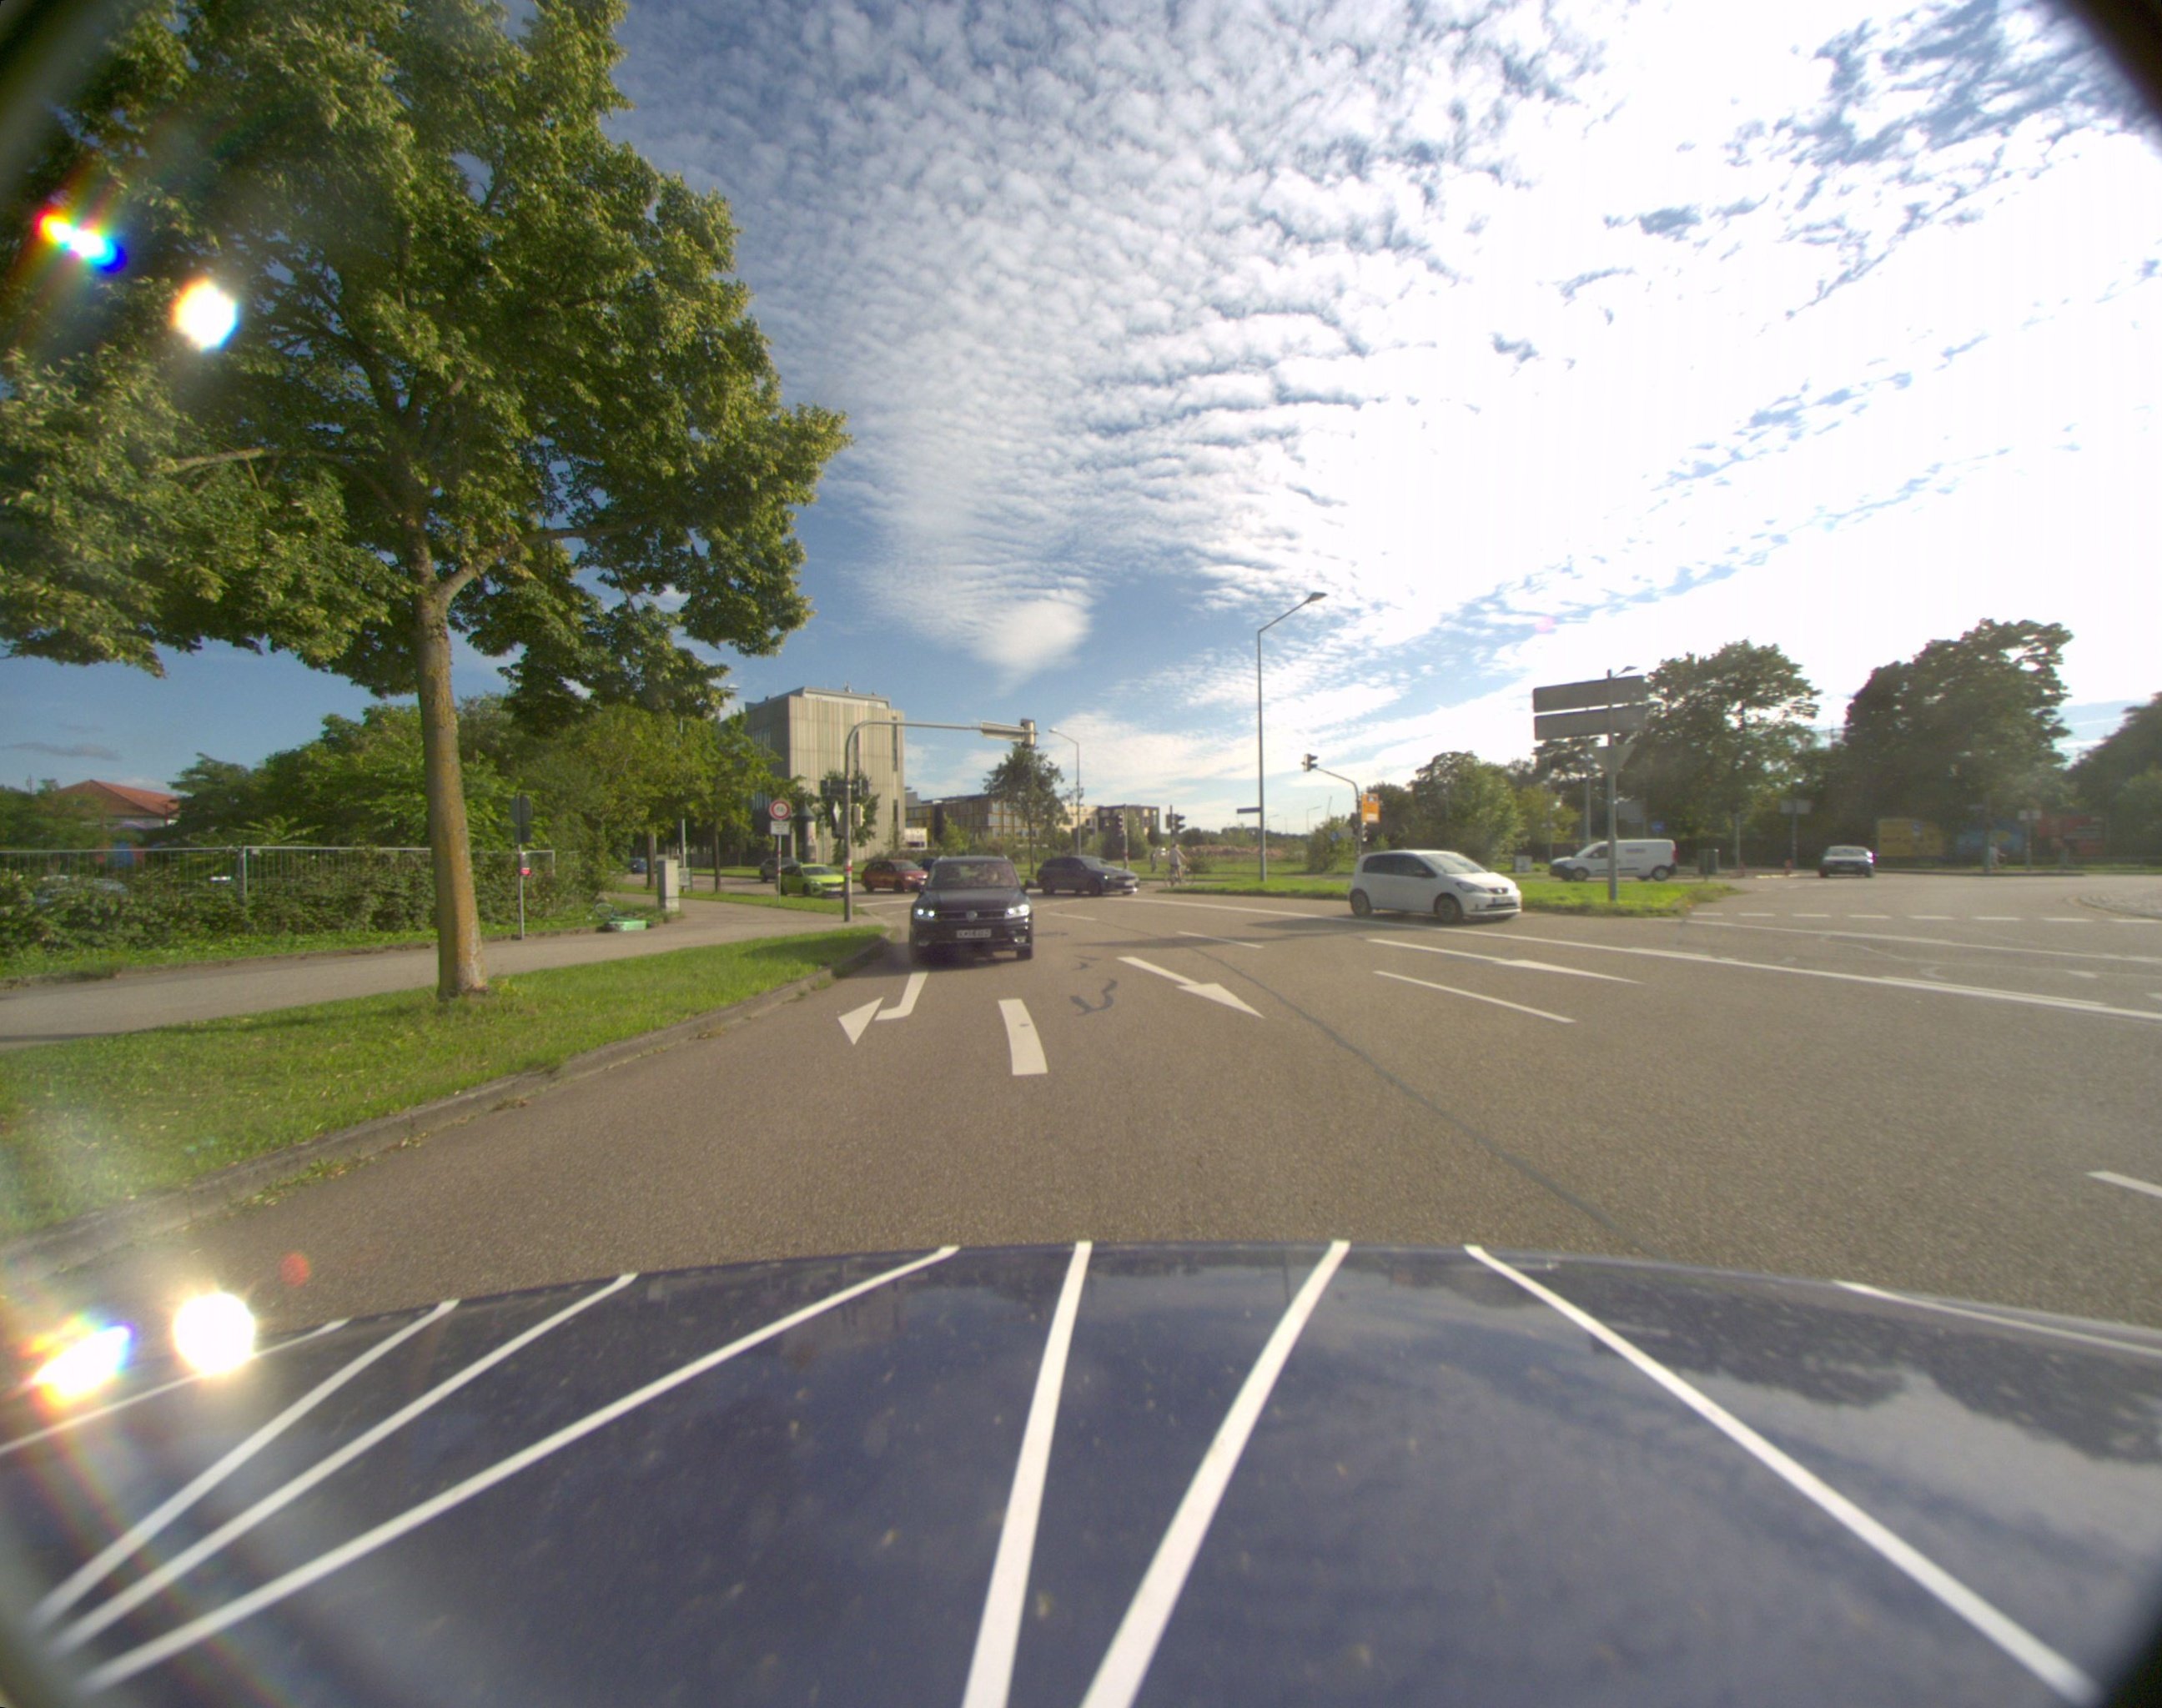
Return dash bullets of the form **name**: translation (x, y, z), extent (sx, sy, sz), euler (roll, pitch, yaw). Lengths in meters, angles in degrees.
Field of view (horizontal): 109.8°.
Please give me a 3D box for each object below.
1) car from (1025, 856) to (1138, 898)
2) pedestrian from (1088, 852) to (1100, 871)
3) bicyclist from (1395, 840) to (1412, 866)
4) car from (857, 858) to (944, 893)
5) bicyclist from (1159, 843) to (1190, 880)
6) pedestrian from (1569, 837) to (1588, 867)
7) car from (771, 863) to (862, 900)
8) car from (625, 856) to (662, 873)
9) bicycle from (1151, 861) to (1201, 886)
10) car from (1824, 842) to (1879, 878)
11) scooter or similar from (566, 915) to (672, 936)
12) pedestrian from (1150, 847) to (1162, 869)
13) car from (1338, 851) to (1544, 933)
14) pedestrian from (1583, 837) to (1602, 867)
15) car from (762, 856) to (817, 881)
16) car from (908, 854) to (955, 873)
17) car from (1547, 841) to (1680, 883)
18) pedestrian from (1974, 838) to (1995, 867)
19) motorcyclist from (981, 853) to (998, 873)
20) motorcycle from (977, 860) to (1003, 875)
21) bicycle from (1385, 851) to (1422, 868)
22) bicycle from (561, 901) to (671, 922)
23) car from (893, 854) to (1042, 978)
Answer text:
- **car**: translation (-0.053, 0.809, 28.951), extent (1.828, 1.412, 4.434), euler (-3, 2, -41)
- **pedestrian**: translation (1.066, 0.587, 61.984), extent (0.630, 1.500, 0.754), euler (-6, 4, -41)
- **bicyclist**: translation (18.482, -0.071, 43.559), extent (0.697, 1.438, 0.611), euler (0, 3, 1)
- **car**: translation (-8.325, 0.947, 34.855), extent (4.215, 1.466, 1.698), euler (0, 2, 41)
- **bicyclist**: translation (3.995, 0.300, 32.421), extent (0.867, 1.547, 0.995), euler (-2, 1, -40)
- **pedestrian**: translation (32.986, -0.127, 50.384), extent (0.864, 1.906, 0.898), euler (-1, 3, 24)
- **car**: translation (-11.508, 1.130, 32.858), extent (1.900, 1.412, 4.594), euler (-3, 2, -44)
- **car**: translation (-42.977, 1.014, 74.614), extent (2.004, 1.652, 4.789), euler (-1, 1, -45)
- **bicycle**: translation (4.065, 0.828, 32.472), extent (1.965, 1.001, 0.999), euler (-1, 1, -40)
- **car**: translation (35.184, 0.255, 34.704), extent (4.002, 1.492, 1.681), euler (-2, 1, -45)
- **scooter or similar**: translation (-10.314, 1.592, 17.029), extent (1.290, 0.279, 1.556), euler (-1, 0, 21)
- **pedestrian**: translation (5.606, 0.306, 56.803), extent (0.630, 1.620, 0.656), euler (-4, 2, -42)
- **car**: translation (7.427, 0.704, 16.053), extent (1.769, 1.456, 3.653), euler (-2, 1, -23)
- **pedestrian**: translation (33.824, -0.157, 50.259), extent (0.864, 1.906, 0.898), euler (-1, 3, 24)
- **car**: translation (-18.767, 0.942, 48.820), extent (1.698, 1.466, 4.215), euler (-2, 1, -44)
- **car**: translation (-11.742, 0.764, 59.479), extent (1.787, 1.492, 3.983), euler (1, -1, -43)
- **car**: translation (23.668, 0.352, 33.936), extent (4.552, 1.814, 1.688), euler (0, -1, 15)
- **pedestrian**: translation (50.210, -0.078, 42.222), extent (0.548, 1.615, 0.505), euler (-1, 1, -5)
- **motorcyclist**: translation (-6.462, 0.606, 53.415), extent (0.786, 1.358, 0.940), euler (-1, 1, -40)
- **motorcycle**: translation (-6.413, 0.940, 53.405), extent (0.786, 0.981, 2.018), euler (-1, 1, -40)
- **bicycle**: translation (18.488, 0.312, 43.581), extent (1.836, 0.982, 0.611), euler (-1, 1, 2)
- **bicycle**: translation (-11.922, 1.463, 19.505), extent (2.246, 0.344, 1.091), euler (-3, 0, 12)
- **car**: translation (-1.718, 0.866, 13.152), extent (1.872, 1.646, 5.013), euler (-1, 1, -1)
